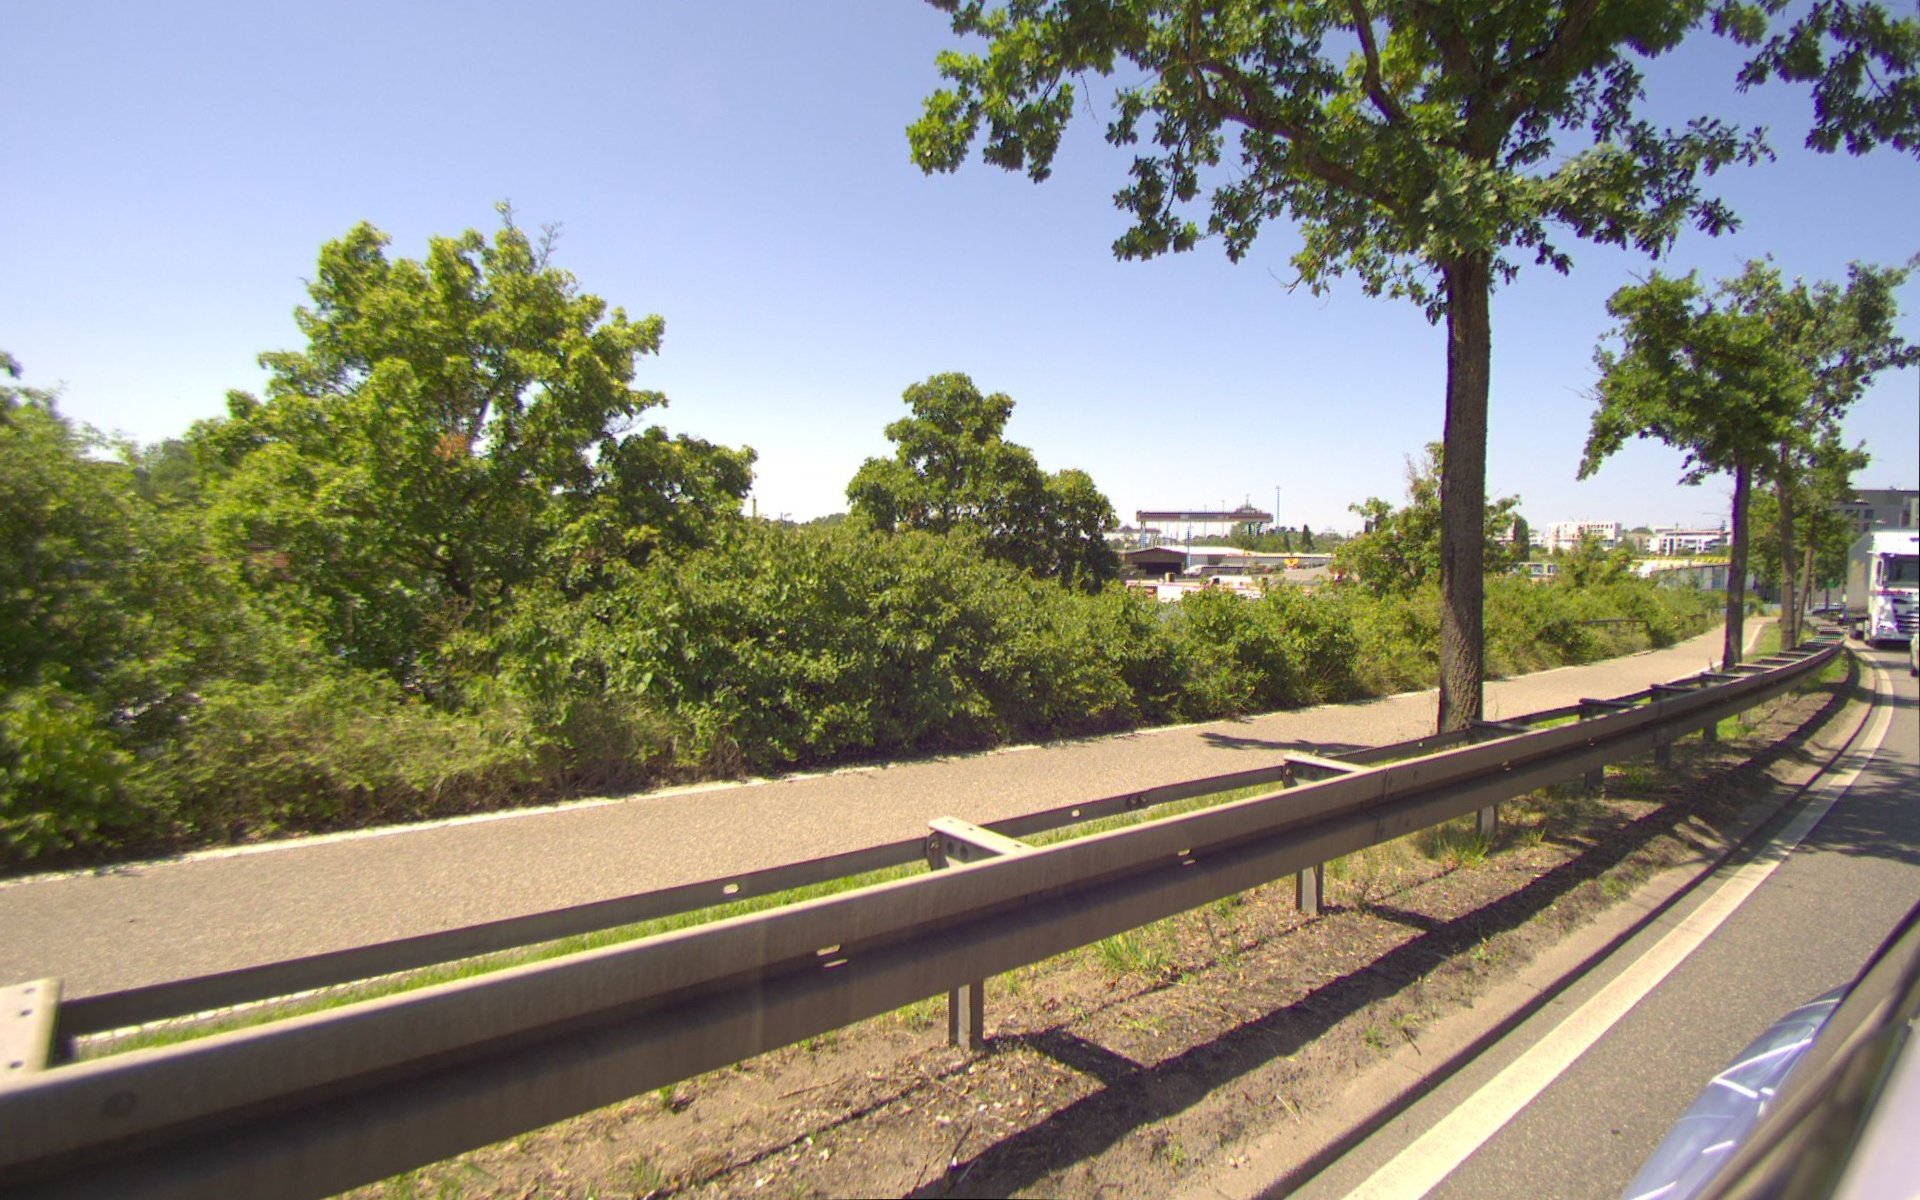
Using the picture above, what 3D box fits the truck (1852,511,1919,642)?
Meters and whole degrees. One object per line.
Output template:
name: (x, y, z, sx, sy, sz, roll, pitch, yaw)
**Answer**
truck: (36.527, -0.796, 38.580, 3.057, 4.223, 16.672, 0, 0, 39)
